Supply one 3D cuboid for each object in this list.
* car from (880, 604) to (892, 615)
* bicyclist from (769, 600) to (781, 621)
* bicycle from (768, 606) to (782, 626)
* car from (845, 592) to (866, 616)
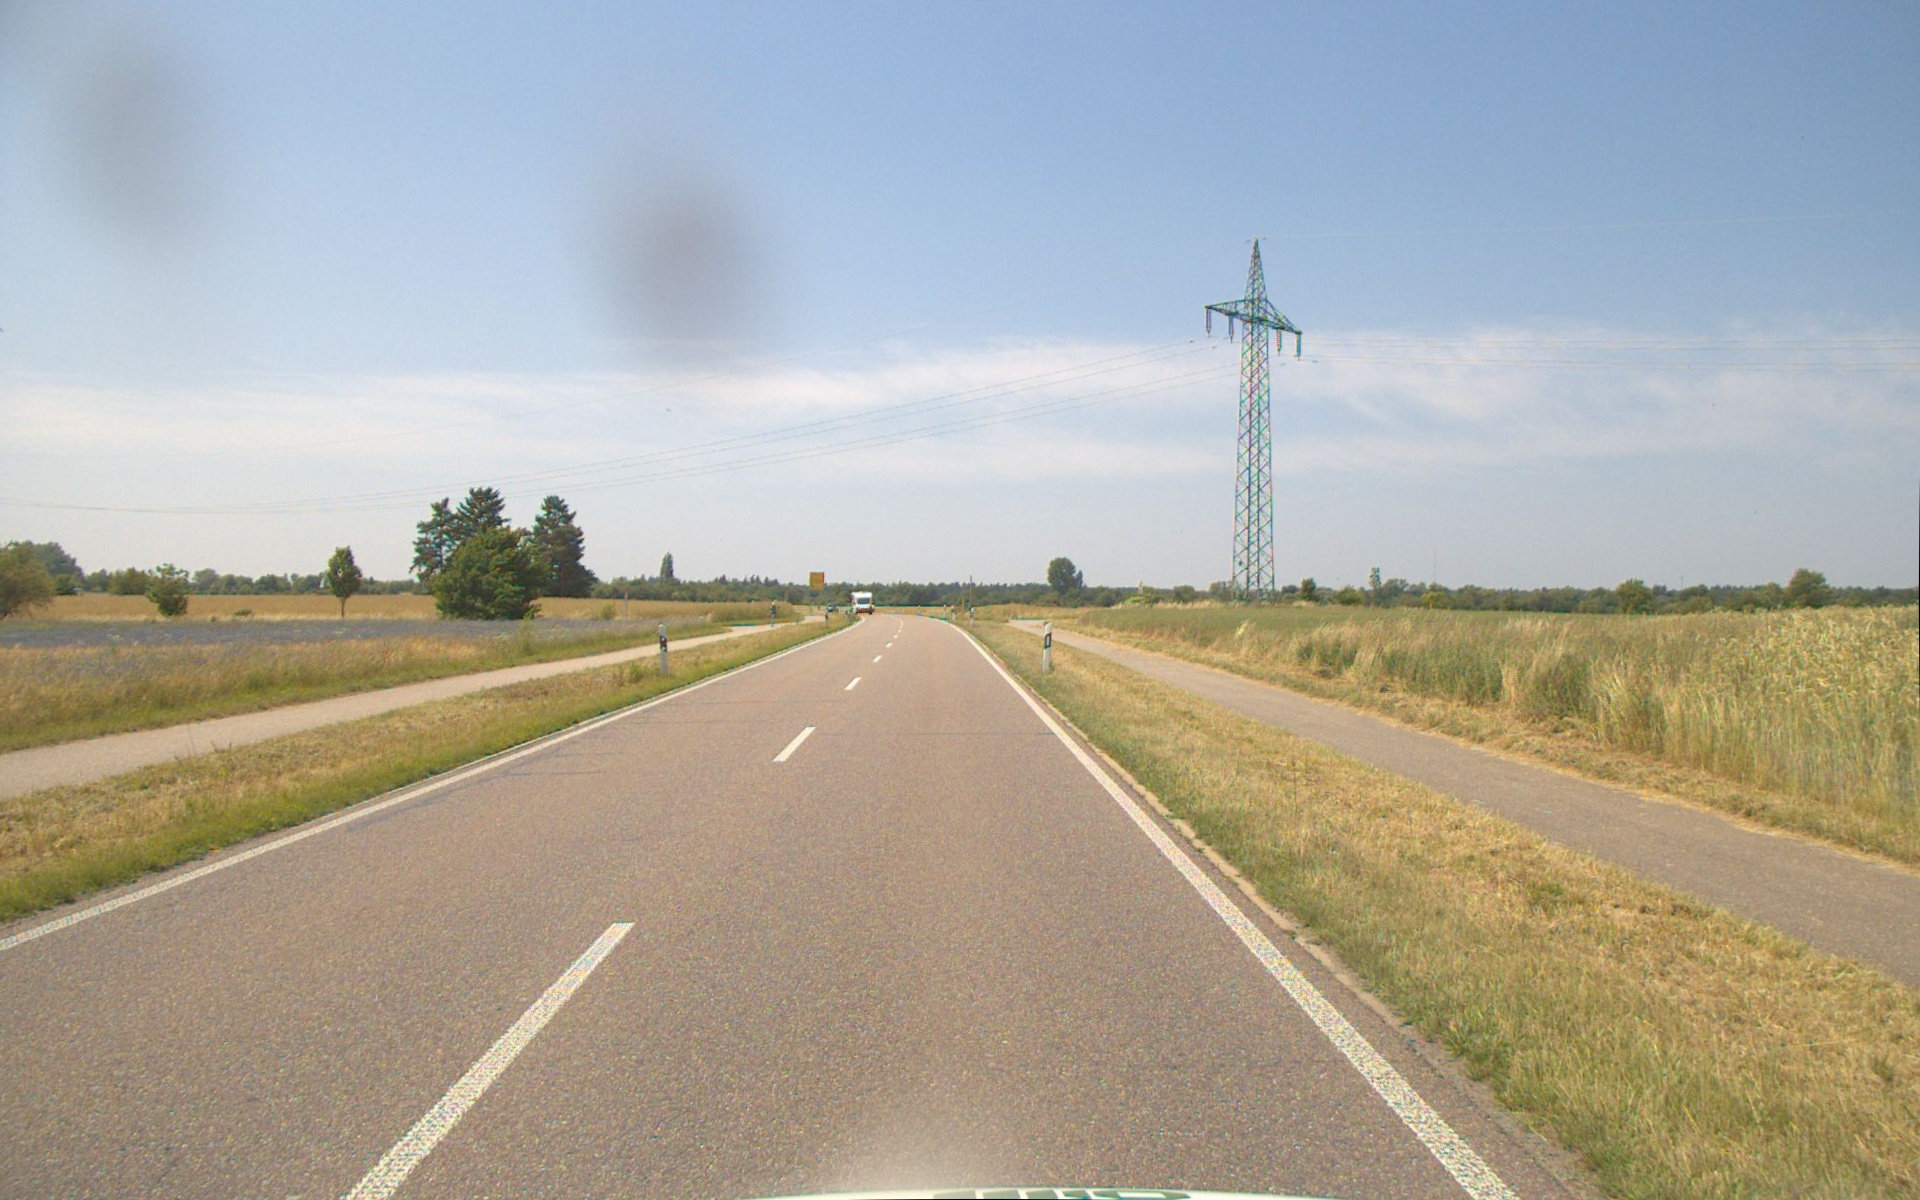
[{"bbox_3d":[-10.256,1.290,229.042,1.591,1.517,3.998,0,0,-3],"label":"car"},{"bbox_3d":[-11.865,0.683,106.154,0.687,1.354,0.965,0,0,-2],"label":"bicyclist"},{"bbox_3d":[-11.861,1.010,106.137,0.747,1.250,2.215,0,0,-2],"label":"bicycle"},{"bbox_3d":[-12.976,0.469,205.375,2.349,2.896,7.625,0,0,-2],"label":"car"}]
